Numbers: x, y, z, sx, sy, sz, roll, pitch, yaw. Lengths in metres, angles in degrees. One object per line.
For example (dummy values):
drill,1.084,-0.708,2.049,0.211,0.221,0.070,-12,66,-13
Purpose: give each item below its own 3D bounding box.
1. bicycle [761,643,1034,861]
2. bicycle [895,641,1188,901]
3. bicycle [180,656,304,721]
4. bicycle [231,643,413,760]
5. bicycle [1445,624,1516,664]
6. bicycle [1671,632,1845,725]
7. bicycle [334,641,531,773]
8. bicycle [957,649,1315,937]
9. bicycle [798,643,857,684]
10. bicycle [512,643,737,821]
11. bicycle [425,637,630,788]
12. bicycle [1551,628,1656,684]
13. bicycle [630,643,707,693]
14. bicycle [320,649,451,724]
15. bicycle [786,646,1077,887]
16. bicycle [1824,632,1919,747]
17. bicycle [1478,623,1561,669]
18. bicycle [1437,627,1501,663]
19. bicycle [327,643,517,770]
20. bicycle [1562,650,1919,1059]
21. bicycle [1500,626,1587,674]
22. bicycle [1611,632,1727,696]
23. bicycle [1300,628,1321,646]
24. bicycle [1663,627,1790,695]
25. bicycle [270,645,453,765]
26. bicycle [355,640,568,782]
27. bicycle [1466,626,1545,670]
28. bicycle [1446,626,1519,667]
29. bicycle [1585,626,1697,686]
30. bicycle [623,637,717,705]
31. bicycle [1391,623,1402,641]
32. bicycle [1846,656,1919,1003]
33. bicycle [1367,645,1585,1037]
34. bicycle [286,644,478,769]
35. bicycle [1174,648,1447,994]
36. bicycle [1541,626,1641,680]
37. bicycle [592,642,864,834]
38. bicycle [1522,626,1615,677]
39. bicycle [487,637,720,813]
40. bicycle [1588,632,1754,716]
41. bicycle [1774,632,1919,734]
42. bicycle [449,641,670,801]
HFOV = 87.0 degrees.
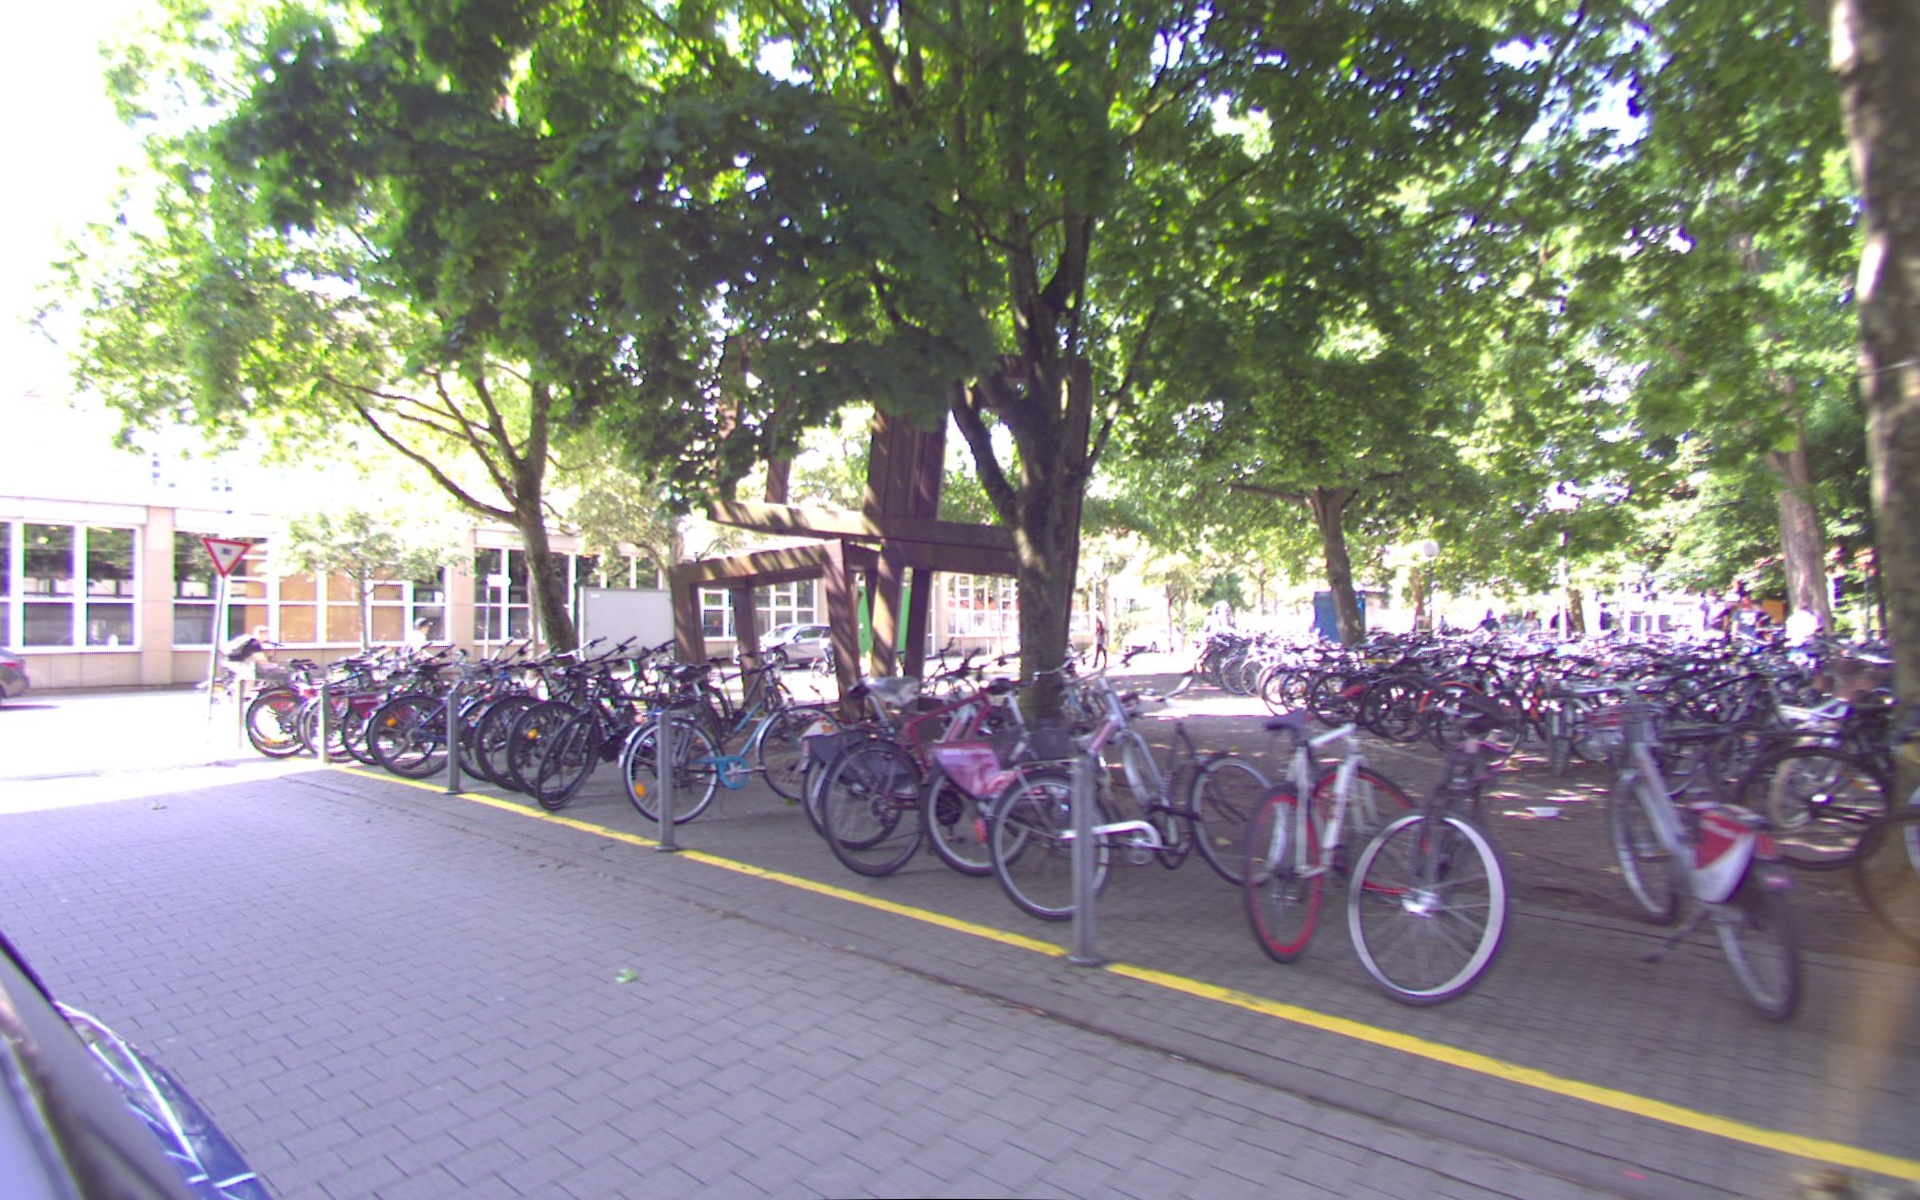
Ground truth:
bicycle,-0.351,0.853,6.188,1.603,1.116,0.564,0,-1,-36
bicycle,0.472,0.823,5.387,1.603,1.152,0.498,0,-1,-36
bicycle,-13.584,1.646,19.185,0.605,1.116,1.805,0,-1,42
bicycle,-6.901,1.060,11.005,1.606,1.116,0.497,0,-1,-45
bicycle,14.567,1.228,28.369,1.682,1.092,0.472,-1,-1,12
bicycle,9.768,0.956,12.422,1.677,1.092,0.474,-1,-1,3
bicycle,-5.034,0.979,9.731,1.606,1.116,0.497,0,-1,-45
bicycle,0.876,0.827,4.853,1.711,1.116,0.576,0,-1,-31
bicycle,-3.875,1.843,29.785,0.639,1.116,1.797,0,-1,36
bicycle,-2.441,0.913,7.530,0.496,1.116,1.610,-1,-1,35
bicycle,-3.761,0.929,8.908,0.497,1.159,1.608,-1,-1,41
bicycle,12.867,1.118,20.265,1.682,1.092,0.472,-1,-1,12
bicycle,-7.524,1.744,26.189,0.674,1.149,1.862,-1,0,38
bicycle,-10.095,1.486,17.847,0.802,1.181,1.867,-1,-1,31
bicycle,-0.122,0.846,5.630,1.603,1.116,0.498,0,-1,-36
bicycle,9.621,0.874,10.005,1.677,1.092,0.474,-1,-1,3
bicycle,13.672,1.132,24.770,1.682,1.092,0.472,-1,-1,12
bicycle,15.729,1.379,31.298,1.682,1.092,0.472,-1,-1,12
bicycle,-5.374,1.024,10.176,1.606,1.116,0.506,0,-1,-45
bicycle,2.831,0.785,3.848,0.492,1.116,1.731,-1,-1,16
bicycle,13.709,1.177,23.795,1.682,1.092,0.472,-1,-1,12
bicycle,12.653,1.136,18.082,1.676,1.092,0.474,-1,-1,2
bicycle,22.111,2.338,63.845,0.668,1.116,2.048,-3,-3,34
bicycle,12.638,1.000,16.703,1.676,1.092,0.474,-1,-1,2
bicycle,-6.342,1.075,10.783,1.606,1.116,0.497,0,-1,-45
bicycle,-4.515,0.955,9.229,1.606,1.116,0.691,0,-1,-45
bicycle,13.913,1.226,25.822,1.682,1.092,0.472,-1,-1,12
bicycle,14.381,1.282,27.889,1.682,1.092,0.472,-1,-1,12
bicycle,12.812,1.054,19.069,1.679,1.092,0.473,-1,-1,7
bicycle,-5.252,1.264,18.440,0.392,1.116,1.818,-1,-1,34
bicycle,28.241,2.065,65.495,0.470,1.092,1.690,-1,-1,17
bicycle,3.315,0.773,3.099,0.495,1.116,1.724,-1,-1,28
bicycle,2.082,0.781,3.970,0.496,1.135,1.719,-1,-1,36
bicycle,-5.915,1.044,10.416,0.630,1.116,1.606,-1,-1,45
bicycle,1.557,0.800,4.308,0.497,1.116,1.717,-1,-1,40
bicycle,13.206,1.105,21.208,1.682,1.092,0.472,-1,-1,12
bicycle,-1.584,0.886,7.058,1.699,1.116,0.720,0,-1,-39
bicycle,13.466,1.136,22.420,1.682,1.092,0.472,-1,-1,12
bicycle,-2.735,0.905,7.950,0.496,1.170,1.764,-1,-1,35
bicycle,9.560,0.991,13.638,1.834,1.092,0.474,-1,-1,3
bicycle,10.155,0.913,11.295,1.677,1.092,0.474,-1,-1,3
bicycle,-3.245,0.929,8.329,0.643,1.116,1.610,-1,-1,35
